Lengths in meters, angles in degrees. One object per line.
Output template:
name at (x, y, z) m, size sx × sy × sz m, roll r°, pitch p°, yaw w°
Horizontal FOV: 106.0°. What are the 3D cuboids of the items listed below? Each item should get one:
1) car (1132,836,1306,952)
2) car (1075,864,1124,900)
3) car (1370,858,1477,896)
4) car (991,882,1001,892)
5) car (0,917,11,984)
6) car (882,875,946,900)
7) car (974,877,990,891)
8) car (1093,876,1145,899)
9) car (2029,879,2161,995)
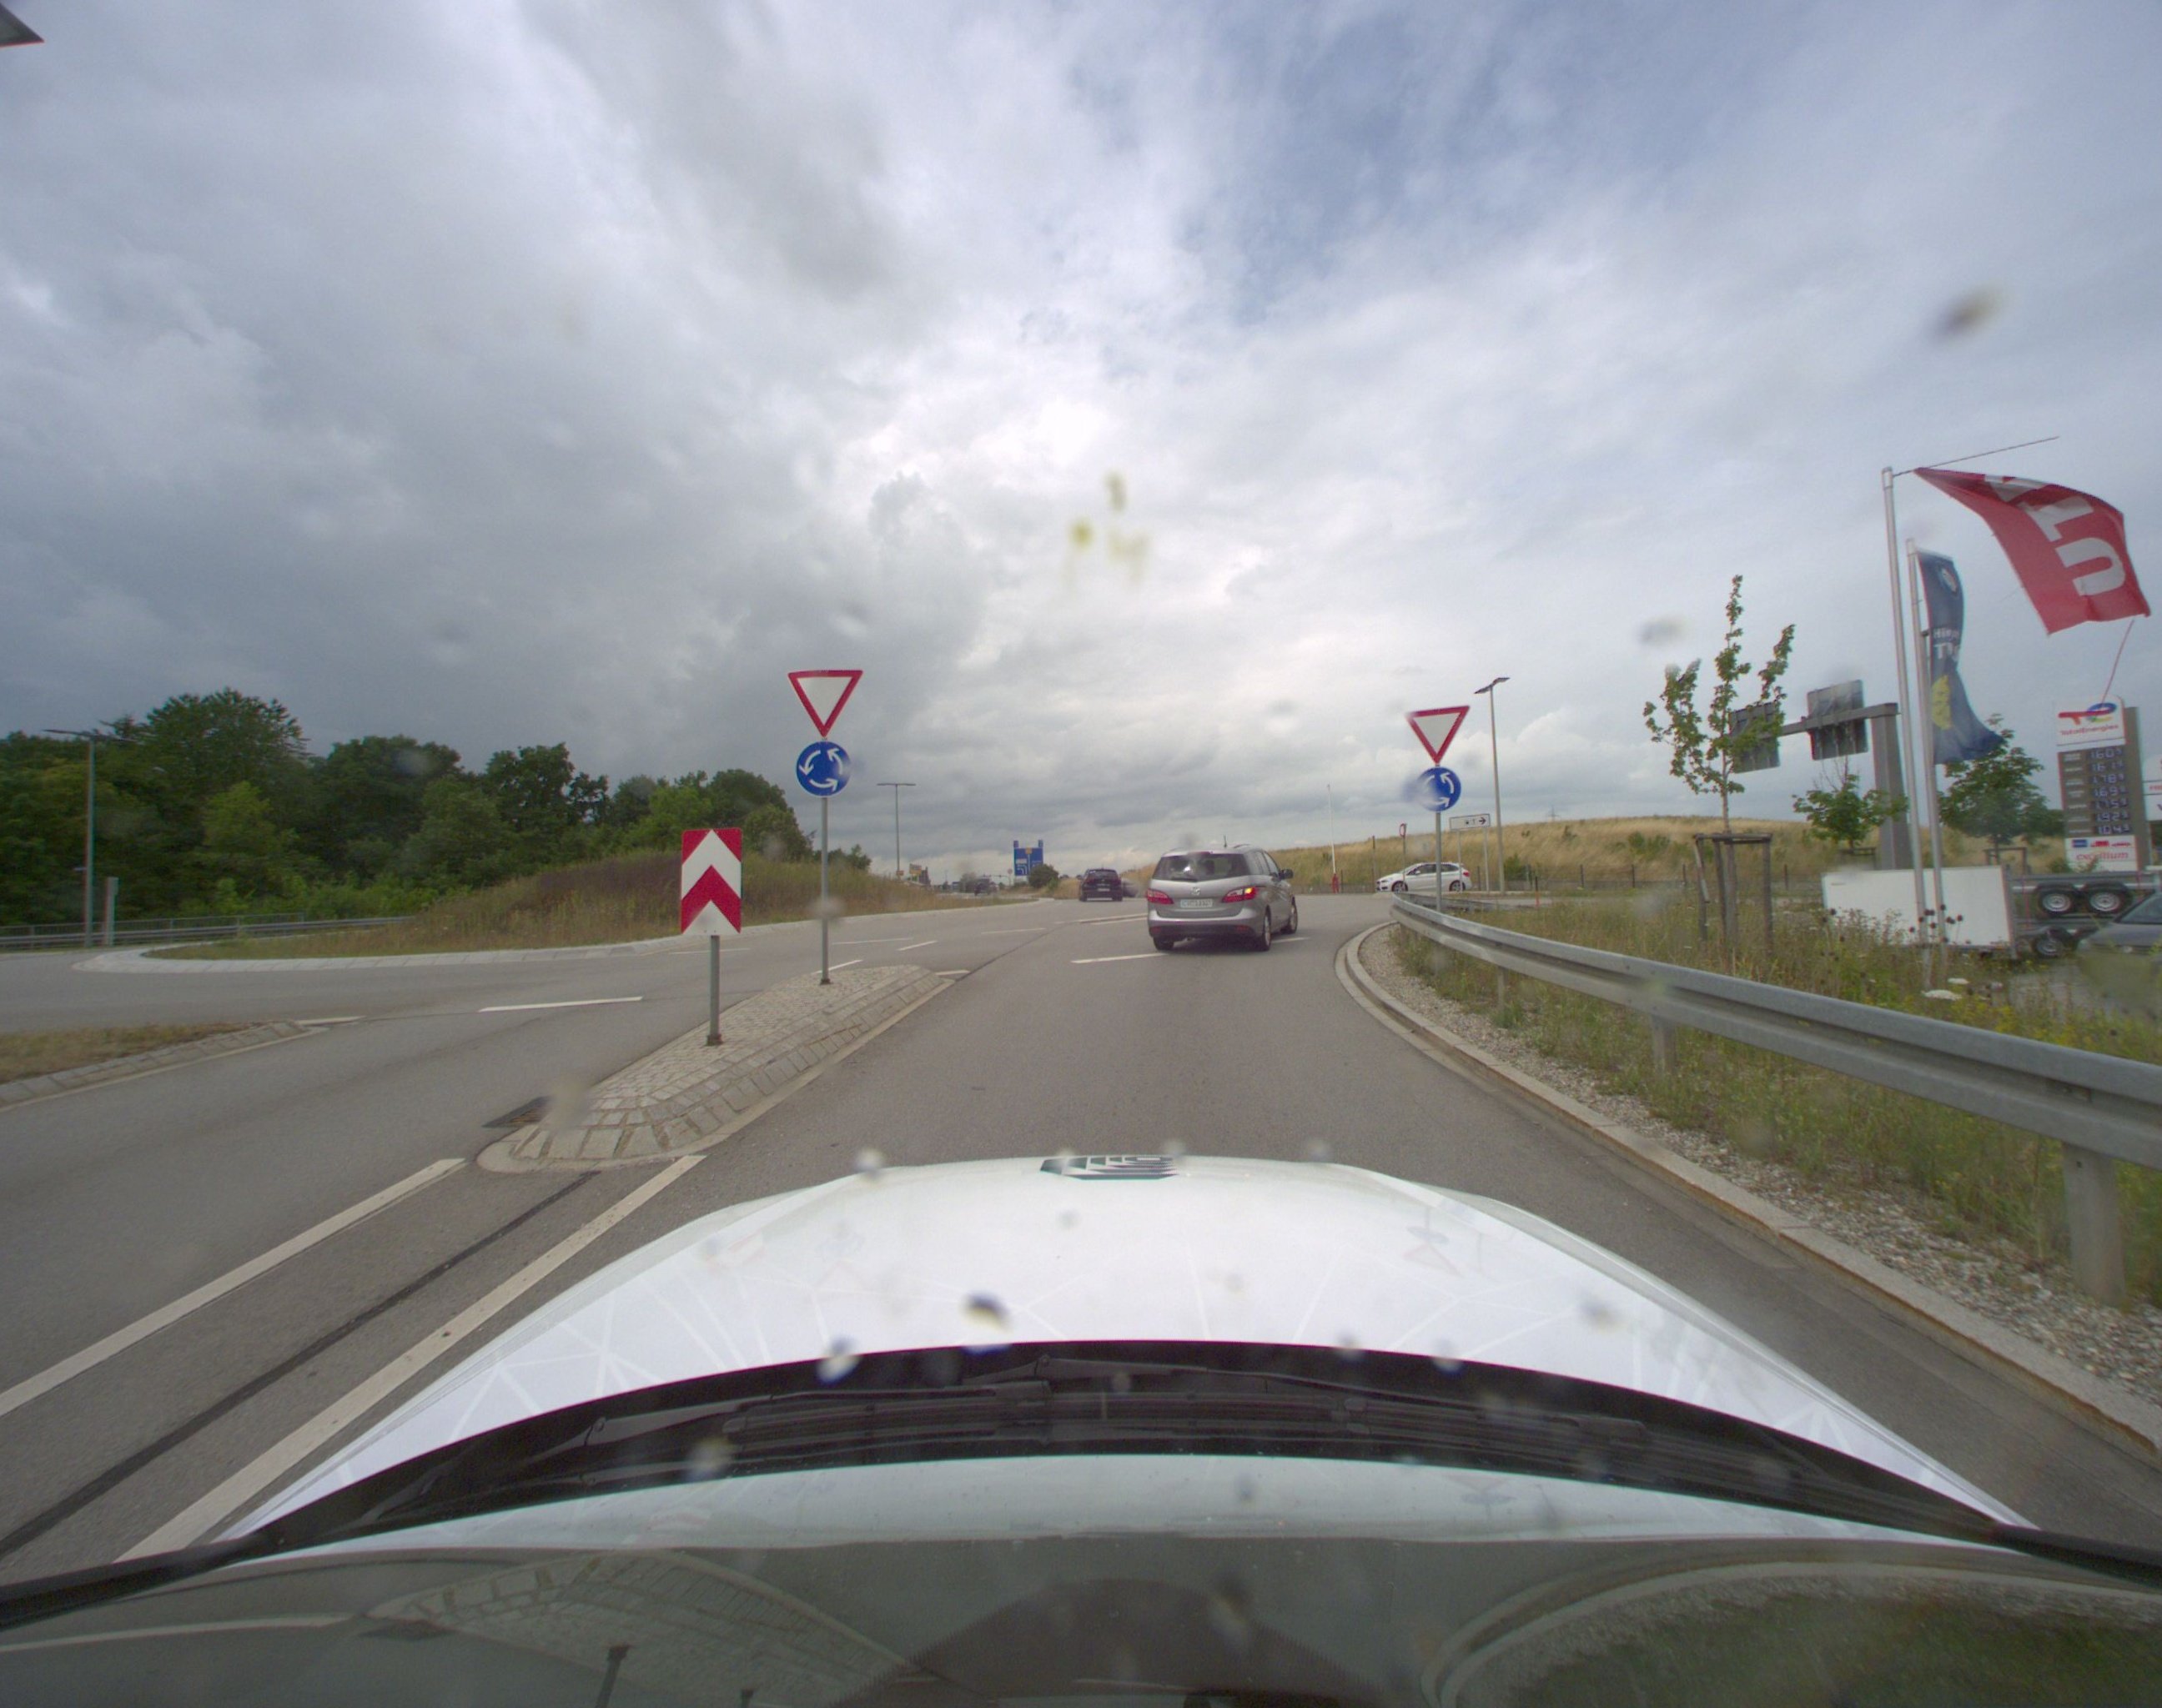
car at (2.435, 0.599, 13.403) m, size 1.894 × 1.574 × 4.022 m, roll -3°, pitch -1°, yaw 22°
car at (0.736, 1.183, 35.584) m, size 1.659 × 1.378 × 3.993 m, roll -3°, pitch -1°, yaw -5°
car at (16.372, 1.081, 39.089) m, size 4.389 × 1.629 × 1.788 m, roll -2°, pitch -1°, yaw 7°
car at (-14.907, 5.706, 142.771) m, size 1.598 × 1.549 × 4.034 m, roll -3°, pitch -1°, yaw -8°
car at (-33.501, 2.839, 23.957) m, size 4.986 × 1.791 × 2.119 m, roll -1°, pitch -1°, yaw 34°
car at (-9.992, 1.999, 48.598) m, size 3.949 × 1.339 × 1.675 m, roll -3°, pitch -1°, yaw 42°
car at (-11.692, 3.546, 96.034) m, size 1.599 × 1.549 × 4.030 m, roll -3°, pitch -1°, yaw -11°
car at (2.352, 2.079, 50.838) m, size 1.605 × 1.288 × 4.014 m, roll -3°, pitch -1°, yaw -23°
car at (18.921, 1.280, 13.518) m, size 4.821 × 1.675 × 1.958 m, roll -2°, pitch -2°, yaw -11°
